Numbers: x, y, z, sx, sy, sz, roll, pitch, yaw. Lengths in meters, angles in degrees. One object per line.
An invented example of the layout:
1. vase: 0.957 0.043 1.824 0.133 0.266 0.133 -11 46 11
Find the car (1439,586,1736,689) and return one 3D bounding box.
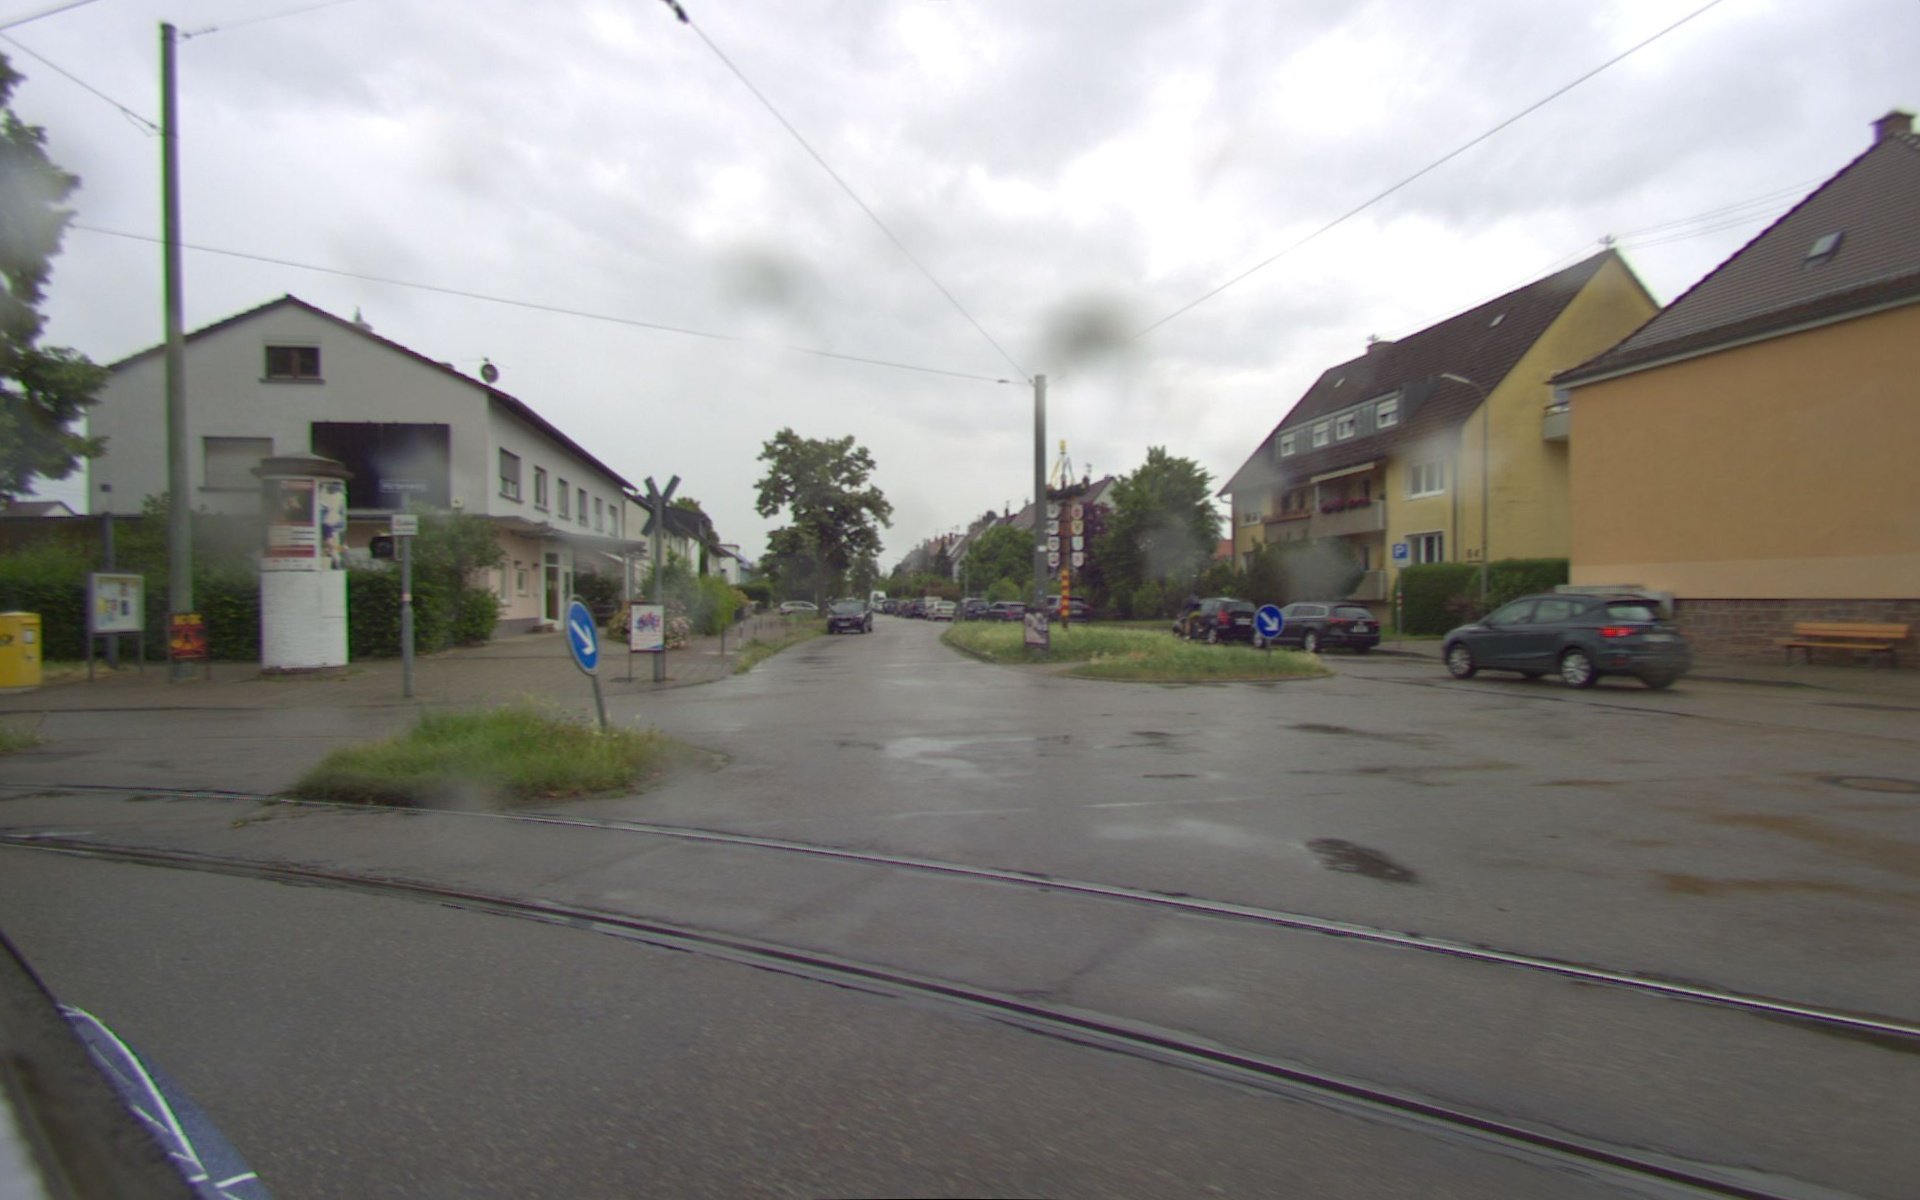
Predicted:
1. car: 10.225 0.562 16.912 1.967 1.487 4.010 -1 0 -12

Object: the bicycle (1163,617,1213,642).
1. bicycle: 7.520 0.965 33.496 0.927 0.792 1.824 -1 -1 -12

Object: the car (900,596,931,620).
1. car: -3.704 0.605 83.677 1.967 1.807 4.010 -1 2 -12

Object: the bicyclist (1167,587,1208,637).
1. bicyclist: 7.518 0.400 33.449 0.934 1.610 1.045 -1 -1 -12

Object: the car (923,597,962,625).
1. car: -1.257 0.740 70.892 1.967 1.807 4.010 -1 2 -12

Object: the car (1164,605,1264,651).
1. car: 8.818 0.922 35.468 1.730 1.342 4.011 -1 2 -13

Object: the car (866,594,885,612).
1. car: -10.372 0.361 124.143 1.968 2.049 4.009 -1 2 -10

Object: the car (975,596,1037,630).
1. car: 2.413 0.648 54.233 1.966 1.585 4.140 -1 2 -18

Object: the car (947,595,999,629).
1. car: 0.721 0.689 59.907 1.966 1.807 4.013 -1 2 -17

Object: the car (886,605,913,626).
1. car: -5.625 1.419 93.940 1.967 1.807 4.010 -1 2 -12

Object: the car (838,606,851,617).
1. car: -21.455 2.186 188.333 1.967 1.807 4.010 -1 2 -12

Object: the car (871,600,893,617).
1. car: -8.593 0.900 111.089 1.915 1.707 4.010 -1 2 -12

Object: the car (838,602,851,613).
1. car: -20.950 1.366 182.807 1.967 1.807 4.010 -1 2 -12

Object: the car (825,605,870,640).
1. car: -5.401 1.041 48.896 1.764 1.473 4.001 0 2 0

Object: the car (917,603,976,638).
1. car: -0.673 0.923 46.943 1.967 1.487 4.010 -1 0 -12

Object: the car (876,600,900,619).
1. car: -7.580 1.003 106.448 1.967 1.807 4.010 -1 2 -12

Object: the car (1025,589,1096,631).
1. car: 4.775 0.425 48.668 1.966 1.807 4.013 -1 2 -17

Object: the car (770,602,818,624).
1. car: -14.040 1.072 85.459 3.934 1.695 2.005 -1 2 -11

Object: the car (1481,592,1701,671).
1. car: 12.660 0.565 20.579 1.694 1.349 3.627 -1 2 -13

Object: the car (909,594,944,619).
1. car: -2.630 0.489 78.477 1.967 1.807 4.010 -1 2 -12

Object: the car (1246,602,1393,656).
1. car: 10.333 0.772 29.489 1.934 1.406 4.516 -1 0 -12
